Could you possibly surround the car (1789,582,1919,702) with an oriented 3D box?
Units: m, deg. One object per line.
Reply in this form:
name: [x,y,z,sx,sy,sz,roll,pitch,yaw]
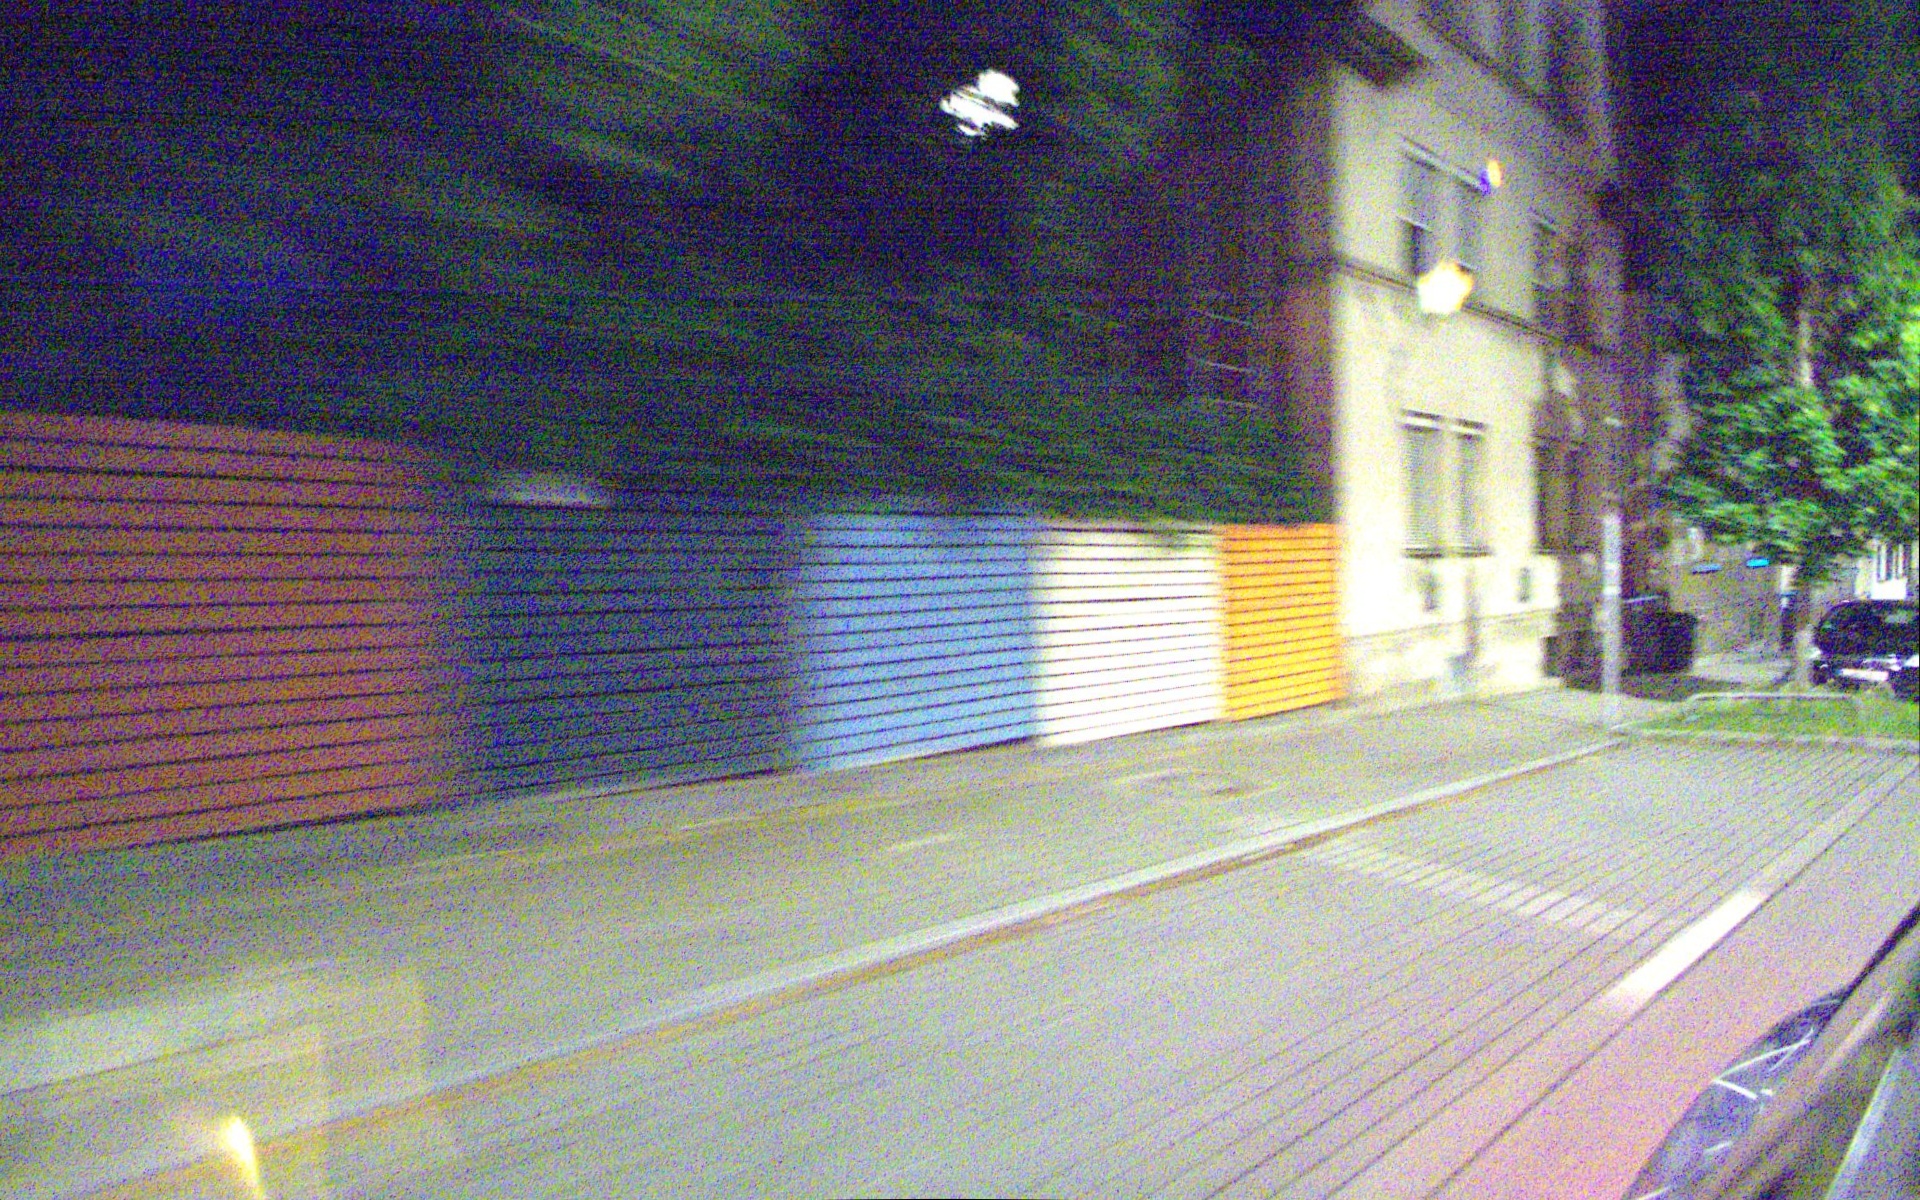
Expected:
car: [13.640,0.539,14.697,4.008,1.494,1.767,0,2,-41]
